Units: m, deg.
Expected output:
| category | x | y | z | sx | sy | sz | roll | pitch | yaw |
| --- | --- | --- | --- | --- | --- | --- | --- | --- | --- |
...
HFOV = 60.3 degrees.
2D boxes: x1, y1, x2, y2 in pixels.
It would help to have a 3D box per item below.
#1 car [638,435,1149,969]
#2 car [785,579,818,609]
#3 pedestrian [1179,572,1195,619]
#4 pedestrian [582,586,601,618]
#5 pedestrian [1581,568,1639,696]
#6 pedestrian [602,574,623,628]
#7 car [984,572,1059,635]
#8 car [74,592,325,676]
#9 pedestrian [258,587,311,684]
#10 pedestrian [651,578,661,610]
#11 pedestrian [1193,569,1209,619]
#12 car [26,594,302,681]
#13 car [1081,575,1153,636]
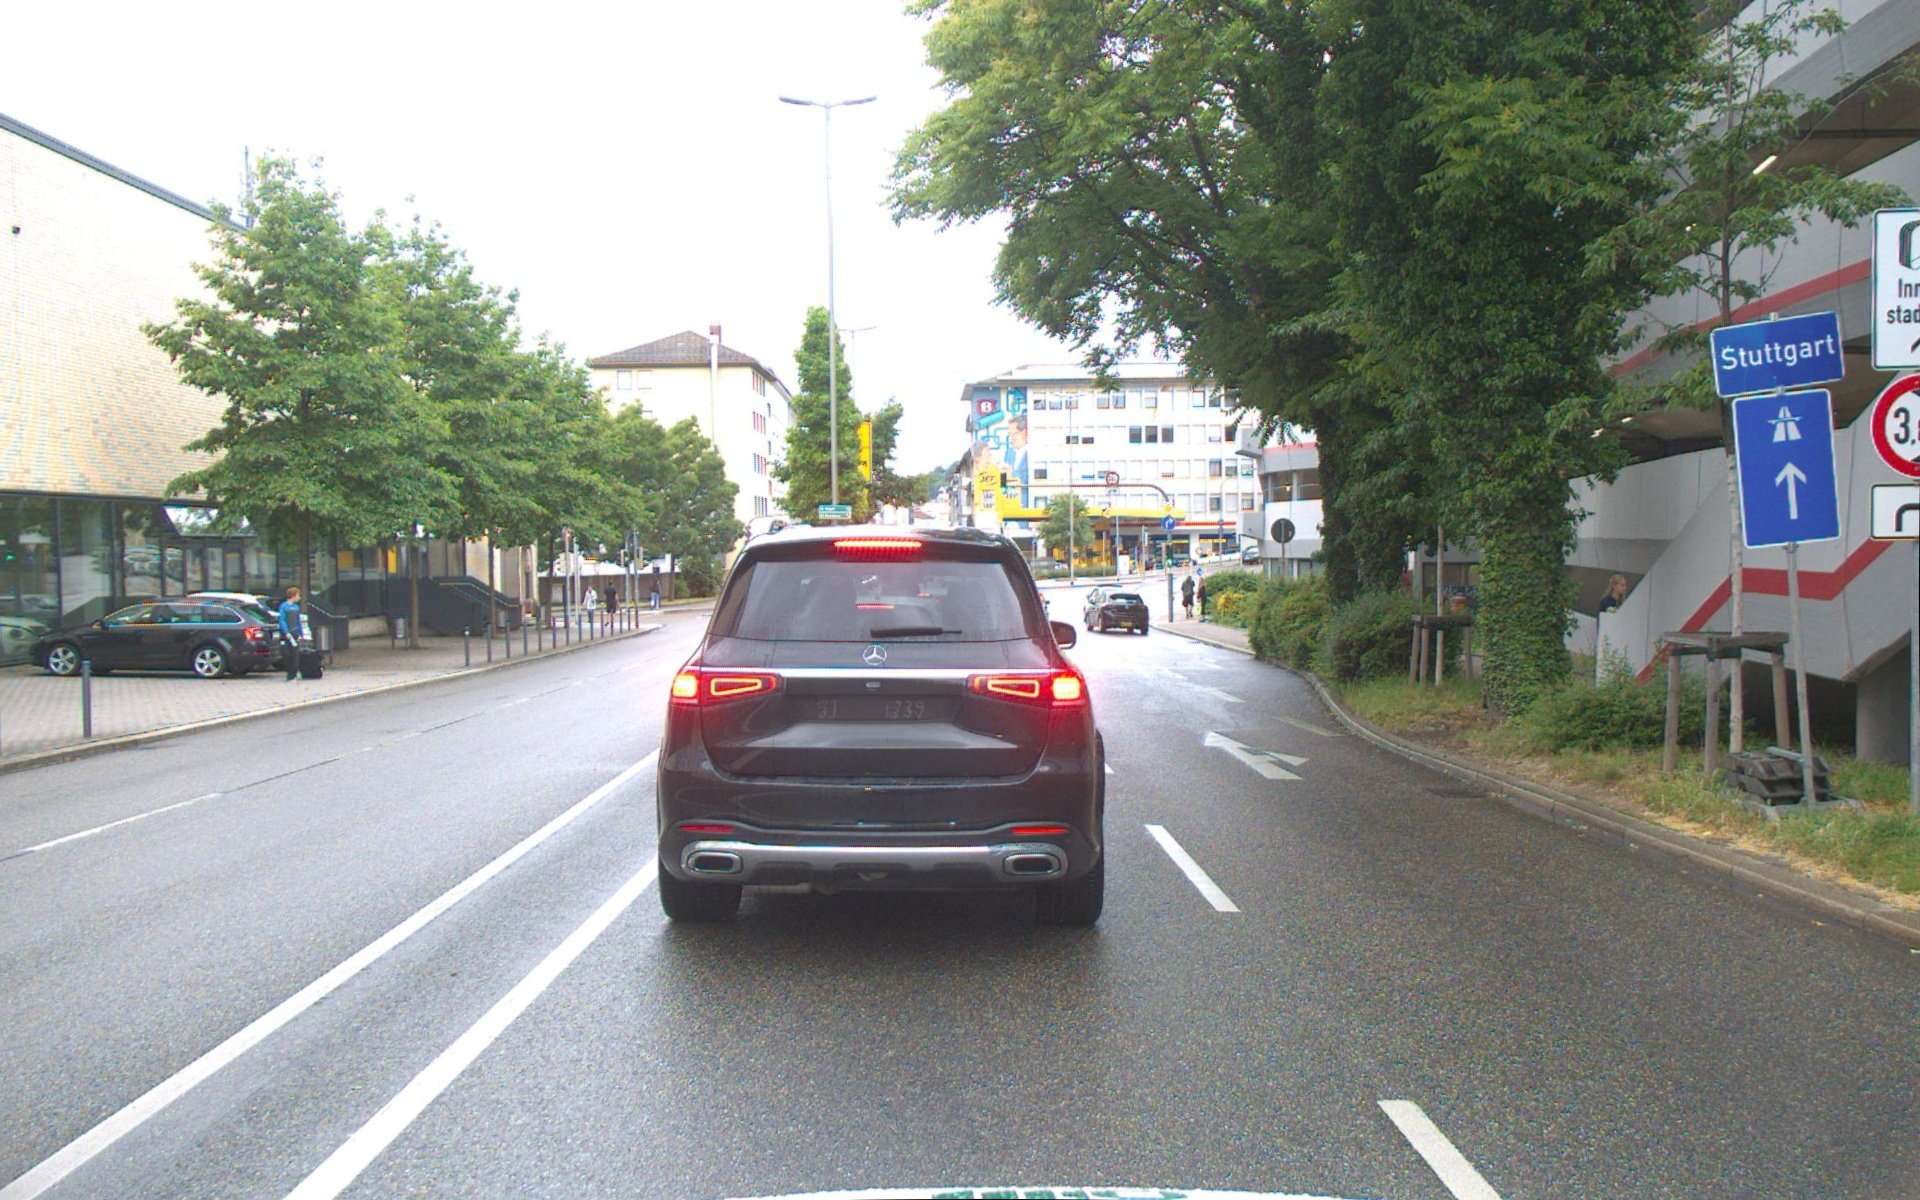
| category | x | y | z | sx | sy | sz | roll | pitch | yaw |
| --- | --- | --- | --- | --- | --- | --- | --- | --- | --- |
| car | -0.325 | 0.416 | 8.439 | 1.953 | 2.049 | 3.998 | 1 | 0 | -2 |
| car | -10.586 | -0.397 | 110.748 | 1.954 | 1.908 | 5.139 | 1 | 0 | -3 |
| pedestrian | 9.666 | -0.181 | 70.546 | 0.607 | 1.969 | 0.610 | 1 | -1 | 5 |
| pedestrian | -16.941 | 0.097 | 76.083 | 0.697 | 1.487 | 0.598 | 1 | -1 | -2 |
| pedestrian | 8.101 | 0.397 | 20.613 | 0.539 | 1.559 | 0.488 | 1 | -1 | 5 |
| pedestrian | -13.540 | 0.022 | 64.433 | 0.576 | 2.048 | 0.749 | 3 | 1 | -3 |
| car | 2.076 | 0.122 | 57.124 | 1.956 | 2.049 | 3.994 | 1 | 0 | -7 |
| car | -15.786 | 0.696 | 34.537 | 4.331 | 1.601 | 1.998 | 1 | 2 | -6 |
| pedestrian | -12.615 | 0.652 | 30.906 | 0.675 | 1.755 | 0.754 | 1 | 1 | -2 |
| pedestrian | -15.900 | -0.308 | 86.533 | 0.391 | 1.673 | 0.567 | 1 | -1 | -1 |
| pedestrian | 9.543 | -0.238 | 65.492 | 0.509 | 1.944 | 0.556 | 1 | -1 | -1 |
| car | -15.280 | 0.699 | 31.974 | 4.383 | 1.615 | 1.997 | 0 | 0 | -8 |
| car | 5.410 | 0.163 | 57.454 | 1.954 | 2.049 | 3.998 | 0 | 1 | -3 |
